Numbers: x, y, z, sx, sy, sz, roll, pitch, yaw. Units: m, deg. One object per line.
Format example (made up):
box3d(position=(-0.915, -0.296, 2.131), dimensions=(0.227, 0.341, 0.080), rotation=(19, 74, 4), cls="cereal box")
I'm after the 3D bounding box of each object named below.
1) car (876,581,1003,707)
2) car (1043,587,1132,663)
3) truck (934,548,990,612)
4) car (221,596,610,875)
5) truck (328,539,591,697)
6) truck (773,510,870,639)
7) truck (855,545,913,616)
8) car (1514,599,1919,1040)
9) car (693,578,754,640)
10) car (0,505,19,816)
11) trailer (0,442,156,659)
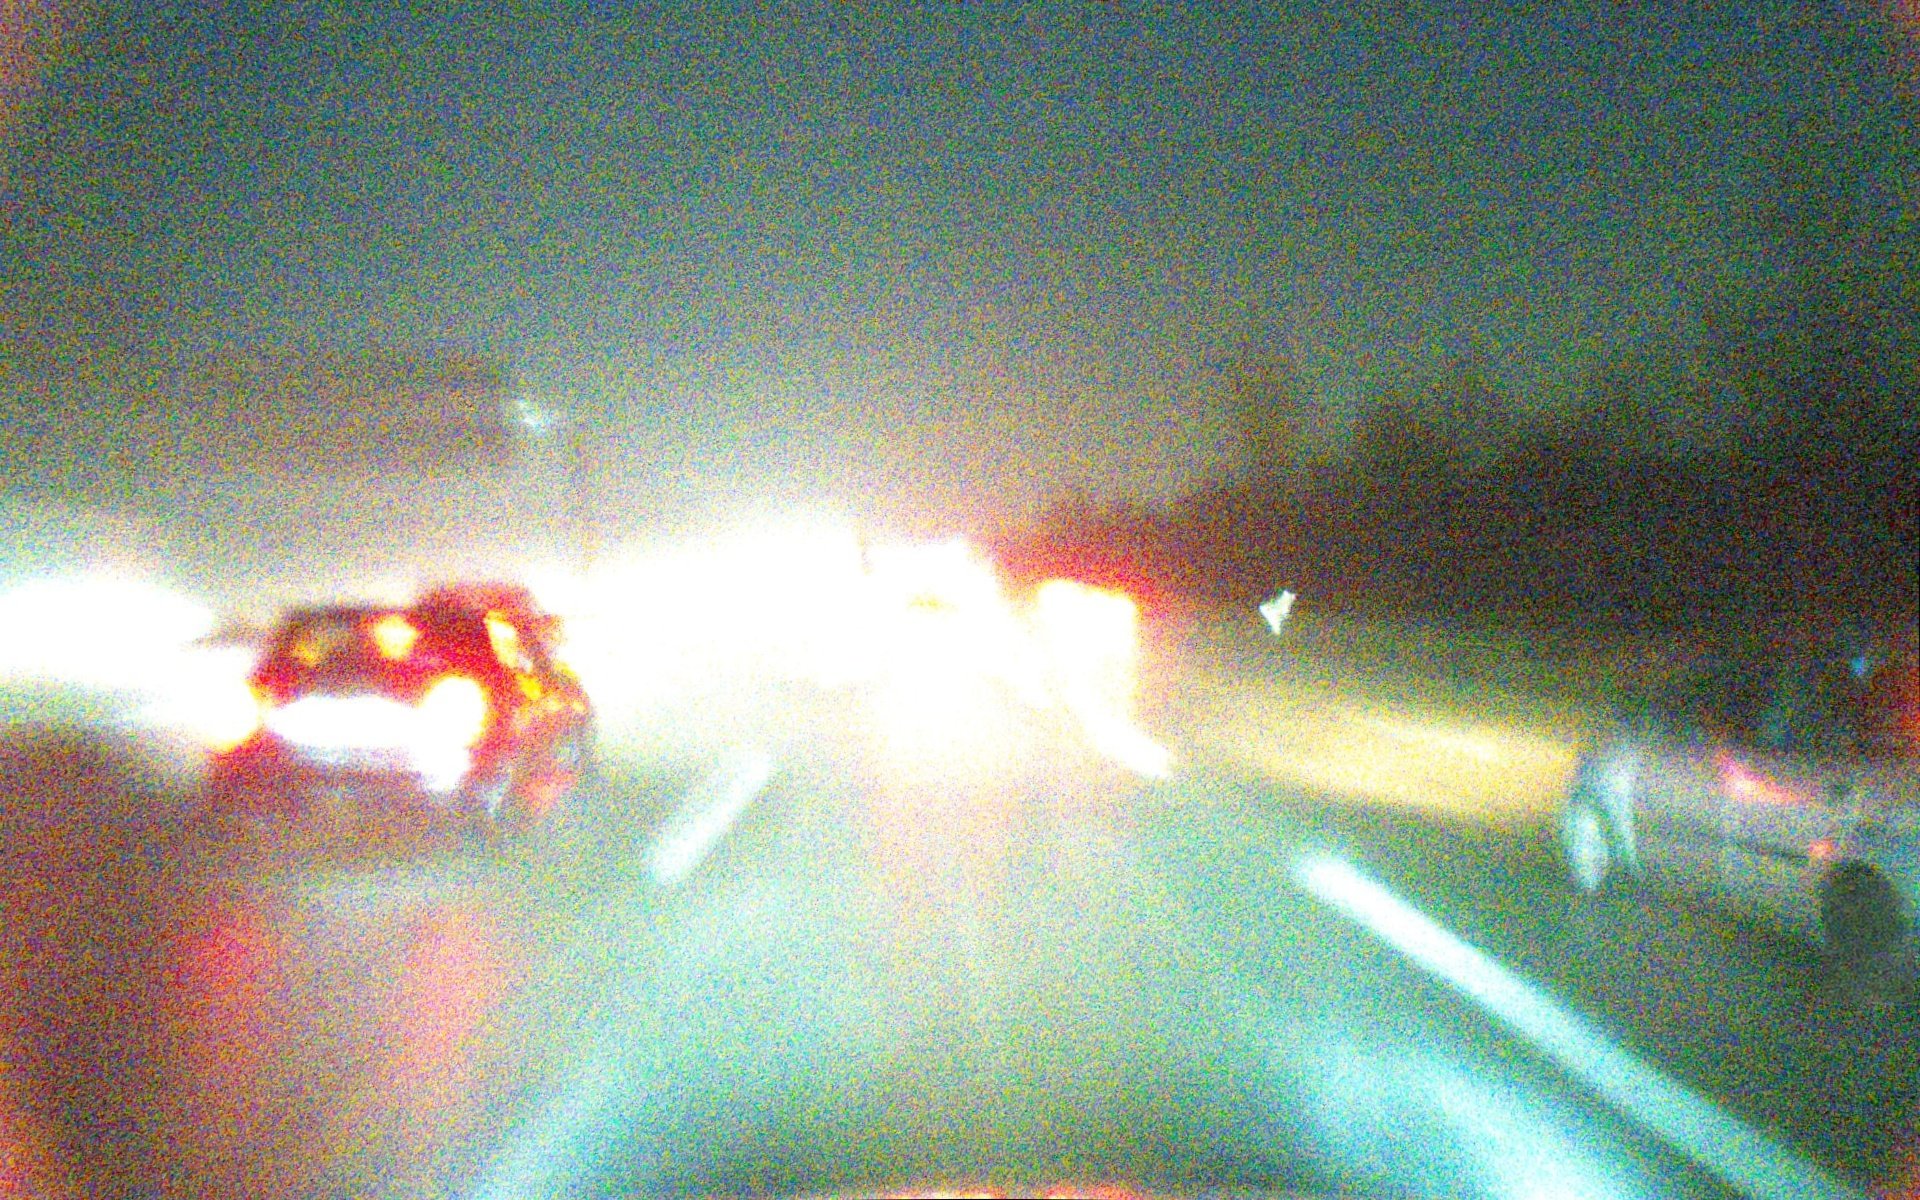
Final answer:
box3d(position=(-0.310, 0.581, 24.590), dimensions=(1.730, 1.718, 3.999), rotation=(0, 1, -1), cls="car")
box3d(position=(3.129, 0.604, 41.139), dimensions=(1.840, 1.793, 3.999), rotation=(0, 0, -1), cls="car")
box3d(position=(0.123, -1.631, 142.954), dimensions=(4.080, 5.306, 9.945), rotation=(0, 0, -4), cls="truck")
box3d(position=(-3.408, 0.726, 11.132), dimensions=(1.625, 1.456, 4.241), rotation=(0, 1, -6), cls="car")
box3d(position=(-7.795, 0.265, 26.578), dimensions=(2.801, 2.239, 5.853), rotation=(0, 0, -4), cls="truck")
box3d(position=(-5.641, -0.932, 66.644), dimensions=(3.585, 4.820, 9.840), rotation=(0, 0, -6), cls="truck")
box3d(position=(-6.115, -1.526, 135.215), dimensions=(4.167, 5.539, 10.883), rotation=(0, 0, 0), cls="truck")
box3d(position=(4.087, 0.753, 7.322), dimensions=(1.734, 1.483, 4.193), rotation=(0, 0, -2), cls="car")
box3d(position=(-9.200, 0.334, 64.532), dimensions=(2.221, 2.313, 5.376), rotation=(0, 0, -8), cls="car")
box3d(position=(-7.589, 0.424, 8.794), dimensions=(2.080, 2.141, 5.627), rotation=(0, 0, -2), cls="car")
box3d(position=(-24.583, -1.180, 39.633), dimensions=(3.712, 5.116, 14.796), rotation=(0, 0, -2), cls="trailer")
